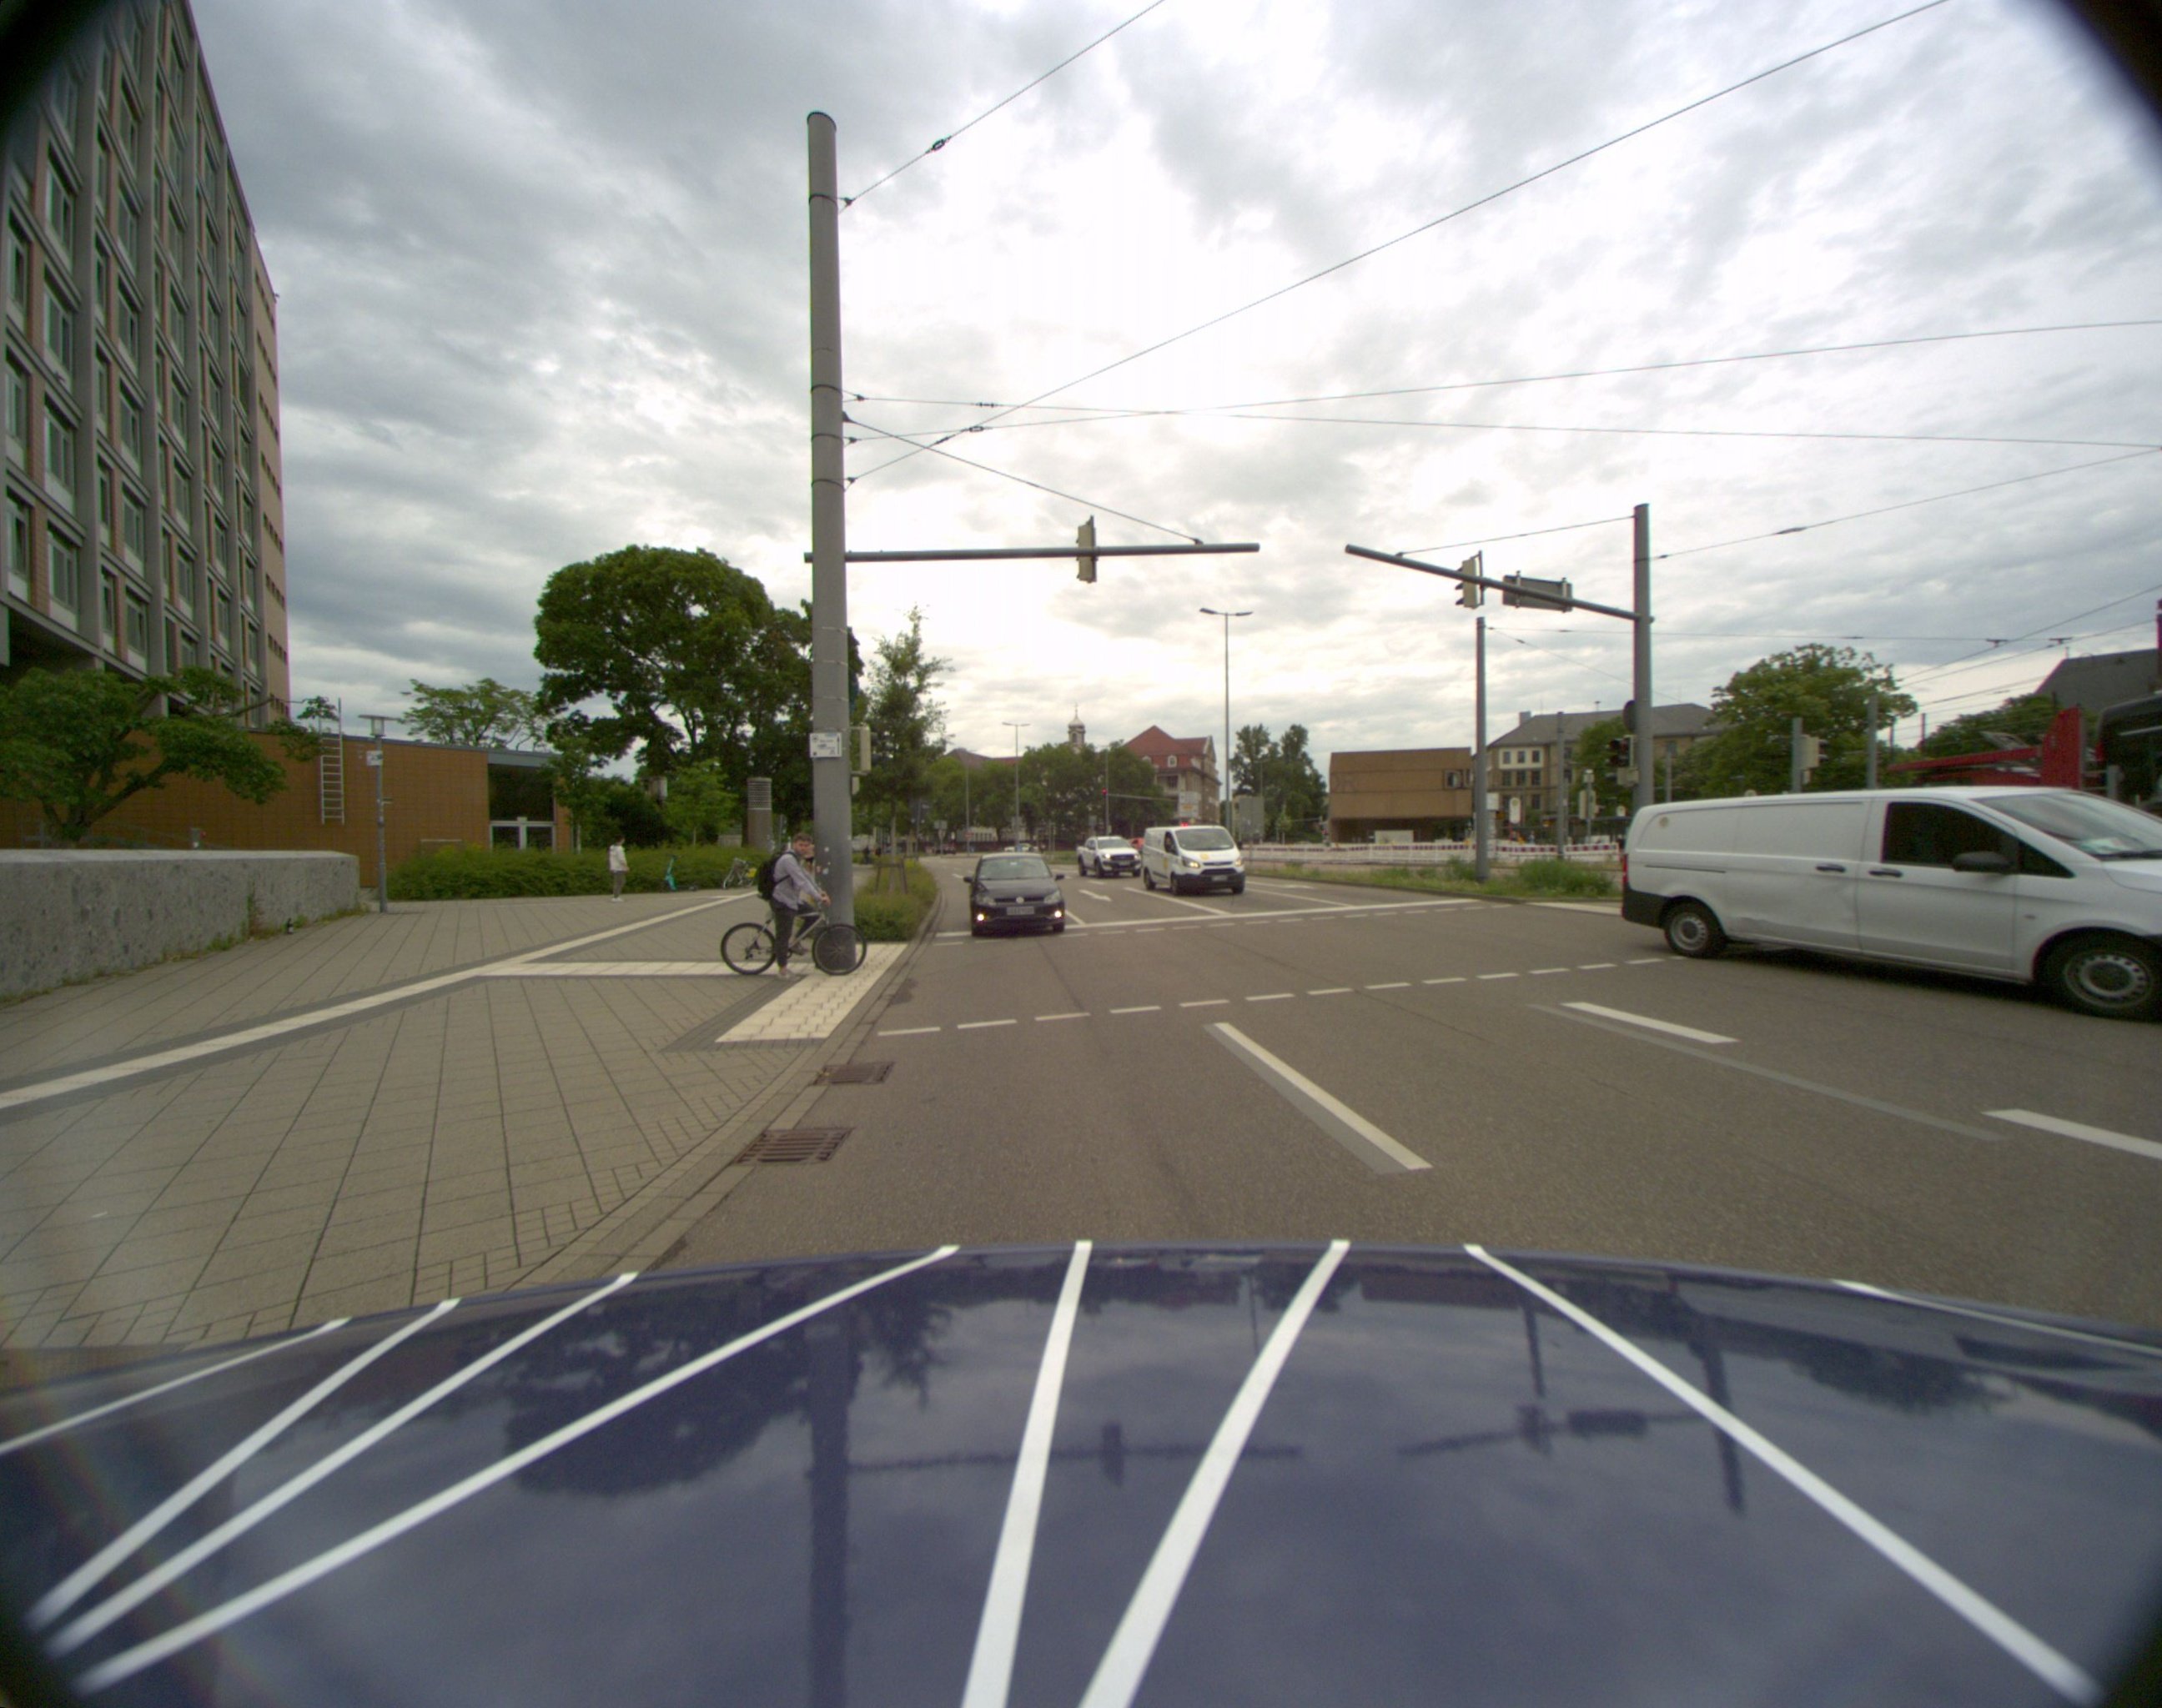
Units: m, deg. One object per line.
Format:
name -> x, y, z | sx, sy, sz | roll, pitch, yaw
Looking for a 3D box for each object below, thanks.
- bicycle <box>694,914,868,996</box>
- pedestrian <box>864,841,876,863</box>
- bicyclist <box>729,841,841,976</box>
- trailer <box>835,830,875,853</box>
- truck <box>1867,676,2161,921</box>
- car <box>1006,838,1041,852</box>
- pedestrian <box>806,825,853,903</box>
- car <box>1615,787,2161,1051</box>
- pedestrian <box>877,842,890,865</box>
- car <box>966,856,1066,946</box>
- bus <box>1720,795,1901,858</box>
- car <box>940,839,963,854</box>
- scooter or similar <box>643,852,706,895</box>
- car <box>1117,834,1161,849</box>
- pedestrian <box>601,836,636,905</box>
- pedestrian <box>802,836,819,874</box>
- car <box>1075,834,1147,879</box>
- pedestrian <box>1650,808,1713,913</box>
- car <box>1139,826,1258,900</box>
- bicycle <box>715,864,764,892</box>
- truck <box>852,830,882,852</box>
bicycle -> -3.506, 1.170, 9.042 | 1.827, 0.835, 0.766 | 1, 1, -13
pedestrian -> -17.675, -0.162, 63.749 | 0.596, 1.790, 0.723 | 3, 1, 34
bicyclist -> -3.482, 0.604, 9.034 | 1.101, 1.512, 0.759 | -1, 2, -13
trailer -> -43.331, -2.317, 145.088 | 2.953, 3.991, 13.774 | -3, 2, -35
truck -> 18.971, -0.910, 11.108 | 3.016, 3.898, 10.444 | -2, 1, -11
car -> -7.251, -1.137, 96.447 | 3.994, 1.718, 2.001 | -2, 2, 9
pedestrian -> -6.344, 0.240, 19.180 | 0.876, 1.917, 0.722 | -2, 2, -43
car -> 8.233, 0.384, 7.407 | 1.924, 1.872, 5.083 | -2, 2, -10
pedestrian -> -15.604, -0.043, 60.005 | 0.596, 1.790, 0.723 | 3, 1, 34
car -> -1.261, 0.796, 14.733 | 1.656, 1.405, 3.997 | -1, 1, -5
bus -> 40.983, -1.525, 43.449 | 2.858, 3.060, 12.035 | -1, 1, 20
car -> -18.462, -1.097, 107.855 | 2.003, 2.002, 3.977 | -3, 2, -28
scooter or similar -> -12.980, 0.602, 24.281 | 1.607, 1.282, 0.693 | -3, 2, -41
car -> 7.004, -1.508, 92.031 | 5.252, 1.707, 1.908 | -1, 1, -34
pedestrian -> -12.304, 0.413, 20.227 | 0.704, 1.795, 0.837 | -1, 2, -29
pedestrian -> -13.047, 0.065, 36.643 | 0.631, 1.790, 0.597 | 2, 1, -13
car -> 1.266, 0.058, 34.020 | 2.091, 1.838, 4.745 | -1, 1, -12
pedestrian -> 11.553, 0.111, 14.644 | 0.779, 1.932, 0.983 | 0, 2, 29
car -> 3.304, 0.207, 22.367 | 2.000, 1.931, 4.518 | -1, 1, -12
bicycle -> -11.641, 0.795, 25.986 | 0.557, 0.843, 2.074 | -1, 1, 6
truck -> -39.310, -2.345, 139.484 | 2.919, 4.002, 7.142 | -3, 2, -35
